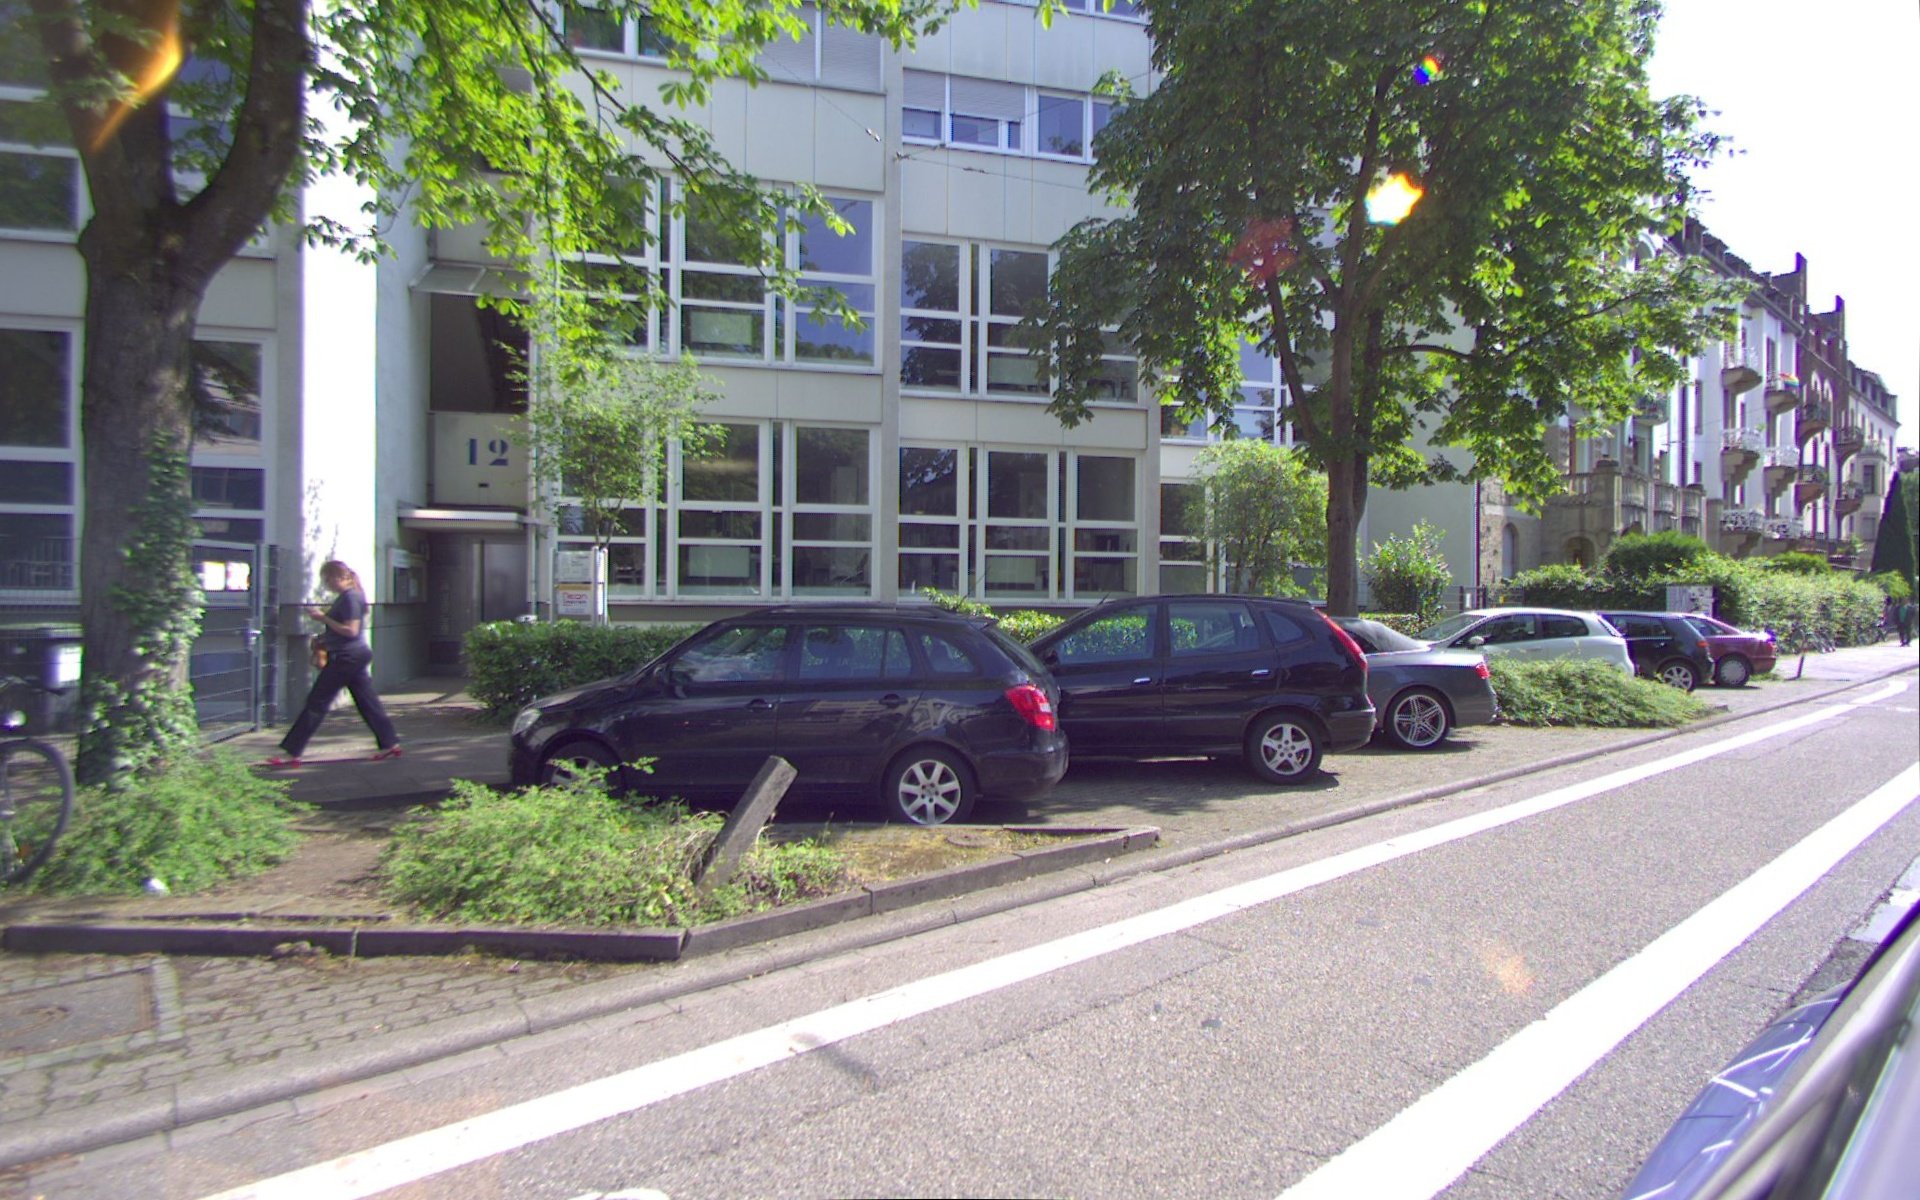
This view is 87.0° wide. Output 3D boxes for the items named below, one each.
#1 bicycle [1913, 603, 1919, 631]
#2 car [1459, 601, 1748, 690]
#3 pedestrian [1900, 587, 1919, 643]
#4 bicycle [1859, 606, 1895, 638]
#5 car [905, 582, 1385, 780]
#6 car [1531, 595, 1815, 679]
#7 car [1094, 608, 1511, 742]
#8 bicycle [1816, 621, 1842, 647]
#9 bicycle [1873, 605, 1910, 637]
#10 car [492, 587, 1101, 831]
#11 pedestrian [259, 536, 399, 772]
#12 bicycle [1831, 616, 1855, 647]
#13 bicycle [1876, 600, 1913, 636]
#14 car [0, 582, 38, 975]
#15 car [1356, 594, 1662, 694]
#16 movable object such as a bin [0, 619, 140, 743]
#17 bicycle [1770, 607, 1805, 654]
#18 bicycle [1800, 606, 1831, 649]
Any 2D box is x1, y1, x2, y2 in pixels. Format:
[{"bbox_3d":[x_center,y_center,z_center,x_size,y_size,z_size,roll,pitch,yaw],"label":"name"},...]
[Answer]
[{"bbox_3d":[39.615,0.701,41.555,1.811,1.136,0.452,1,2,-39],"label":"bicycle"},{"bbox_3d":[11.217,0.753,17.888,3.933,1.467,1.695,0,0,8],"label":"car"},{"bbox_3d":[32.950,0.512,34.839,0.788,1.884,0.571,4,3,43],"label":"pedestrian"},{"bbox_3d":[30.445,0.711,33.591,1.839,1.001,0.613,0,3,-41],"label":"bicycle"},{"bbox_3d":[1.603,0.680,9.410,3.933,1.595,1.900,-1,-1,9],"label":"car"},{"bbox_3d":[13.732,0.673,19.737,4.090,1.441,1.863,1,1,8],"label":"car"},{"bbox_3d":[3.642,0.789,11.472,4.102,1.366,1.902,-1,-1,6],"label":"car"},{"bbox_3d":[25.170,0.990,29.309,1.531,0.685,0.280,0,4,-40],"label":"bicycle"},{"bbox_3d":[32.285,0.721,35.064,2.321,1.008,0.612,0,4,-41],"label":"bicycle"},{"bbox_3d":[-1.037,0.699,7.406,4.005,1.462,1.723,1,-2,6],"label":"car"},{"bbox_3d":[-5.436,0.430,8.726,0.983,1.897,0.763,0,0,-34],"label":"pedestrian"},{"bbox_3d":[26.975,0.963,30.913,1.638,0.918,0.274,2,2,-41],"label":"bicycle"},{"bbox_3d":[34.661,0.642,37.541,2.472,1.246,0.741,0,1,-41],"label":"bicycle"},{"bbox_3d":[-5.869,0.705,3.118,4.456,1.460,2.029,-1,-1,5],"label":"car"},{"bbox_3d":[8.507,0.646,15.944,3.929,1.479,1.533,0,0,5],"label":"car"},{"bbox_3d":[-9.031,0.780,10.142,0.910,1.103,1.037,1,3,-15],"label":"movable object such as a bin"},{"bbox_3d":[21.126,0.758,25.833,1.975,1.122,0.280,0,4,-40],"label":"bicycle"},{"bbox_3d":[23.749,0.735,28.085,1.975,1.122,0.280,0,4,-40],"label":"bicycle"}]
